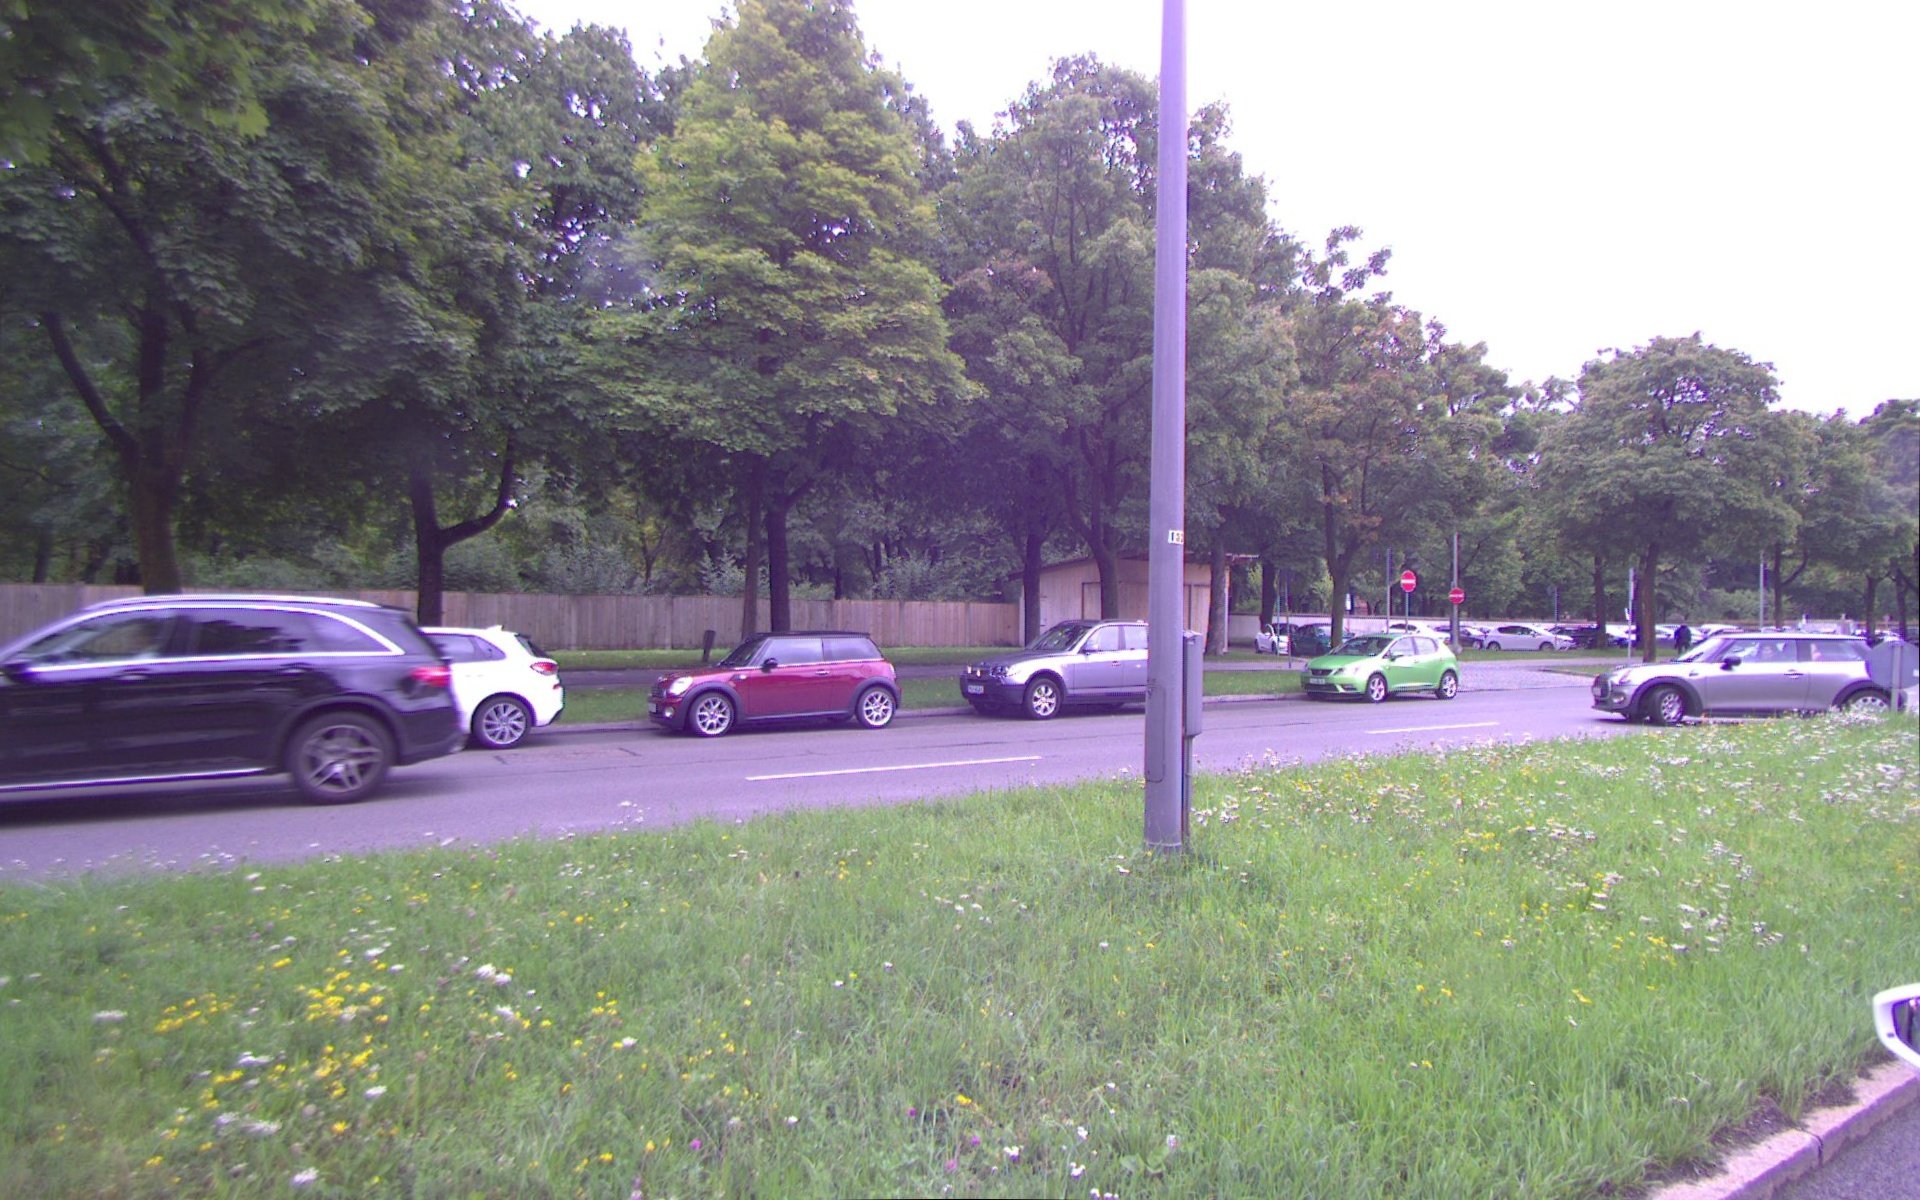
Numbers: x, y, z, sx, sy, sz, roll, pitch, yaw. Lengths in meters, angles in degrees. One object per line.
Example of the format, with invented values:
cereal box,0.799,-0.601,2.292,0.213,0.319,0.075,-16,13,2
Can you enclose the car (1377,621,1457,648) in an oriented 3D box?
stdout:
car,28.704,2.131,63.218,1.653,1.496,4.485,2,0,-29

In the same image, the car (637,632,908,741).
car,-2.709,1.185,14.660,3.586,1.415,1.584,1,-2,-29

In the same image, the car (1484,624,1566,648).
car,38.207,2.435,68.075,1.653,1.465,4.669,2,0,-29

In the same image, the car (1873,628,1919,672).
car,36.969,1.908,38.731,3.836,1.579,1.582,2,0,-32

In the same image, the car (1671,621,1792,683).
car,23.815,1.570,30.968,3.836,1.764,1.707,2,0,-32

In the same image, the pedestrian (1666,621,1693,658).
pedestrian,31.190,1.696,43.541,0.712,1.554,0.724,1,0,-30

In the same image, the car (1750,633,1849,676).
car,28.255,1.820,33.795,3.343,1.329,1.582,2,0,-32

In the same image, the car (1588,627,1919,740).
car,11.983,1.200,15.481,3.662,1.482,1.687,1,0,23

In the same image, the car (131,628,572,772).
car,-7.015,1.077,12.014,4.230,1.463,1.599,1,-2,-31

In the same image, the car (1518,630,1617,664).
car,29.956,2.289,49.623,1.656,1.465,3.840,2,0,-35

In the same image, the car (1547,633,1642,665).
car,33.084,2.513,52.460,1.656,1.465,3.840,2,0,-35

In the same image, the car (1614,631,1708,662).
car,38.045,2.507,54.588,1.656,1.465,3.840,2,0,-35

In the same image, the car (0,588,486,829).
car,-6.340,0.787,8.041,4.455,1.644,1.757,1,-3,-31

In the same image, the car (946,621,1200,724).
car,2.026,1.198,17.587,4.322,1.607,1.682,1,-2,-32

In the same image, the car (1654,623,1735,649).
car,46.594,2.286,63.795,1.656,1.465,3.840,2,0,-35

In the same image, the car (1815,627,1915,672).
car,32.387,1.761,35.918,3.836,1.465,1.658,2,0,-32

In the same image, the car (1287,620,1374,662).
car,14.754,1.597,40.268,1.922,1.465,4.421,2,0,1

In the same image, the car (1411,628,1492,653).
car,32.270,2.650,66.060,1.653,1.465,4.669,2,0,-29

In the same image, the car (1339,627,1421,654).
car,26.048,2.469,62.419,1.652,1.465,4.671,2,0,-28

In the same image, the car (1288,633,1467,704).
car,9.128,1.439,21.919,3.831,1.428,1.541,1,-2,-29

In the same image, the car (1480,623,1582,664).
car,27.432,2.068,48.357,1.656,1.740,3.892,1,0,-35

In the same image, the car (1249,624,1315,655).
car,14.626,1.753,45.857,1.639,1.217,4.421,2,0,1
